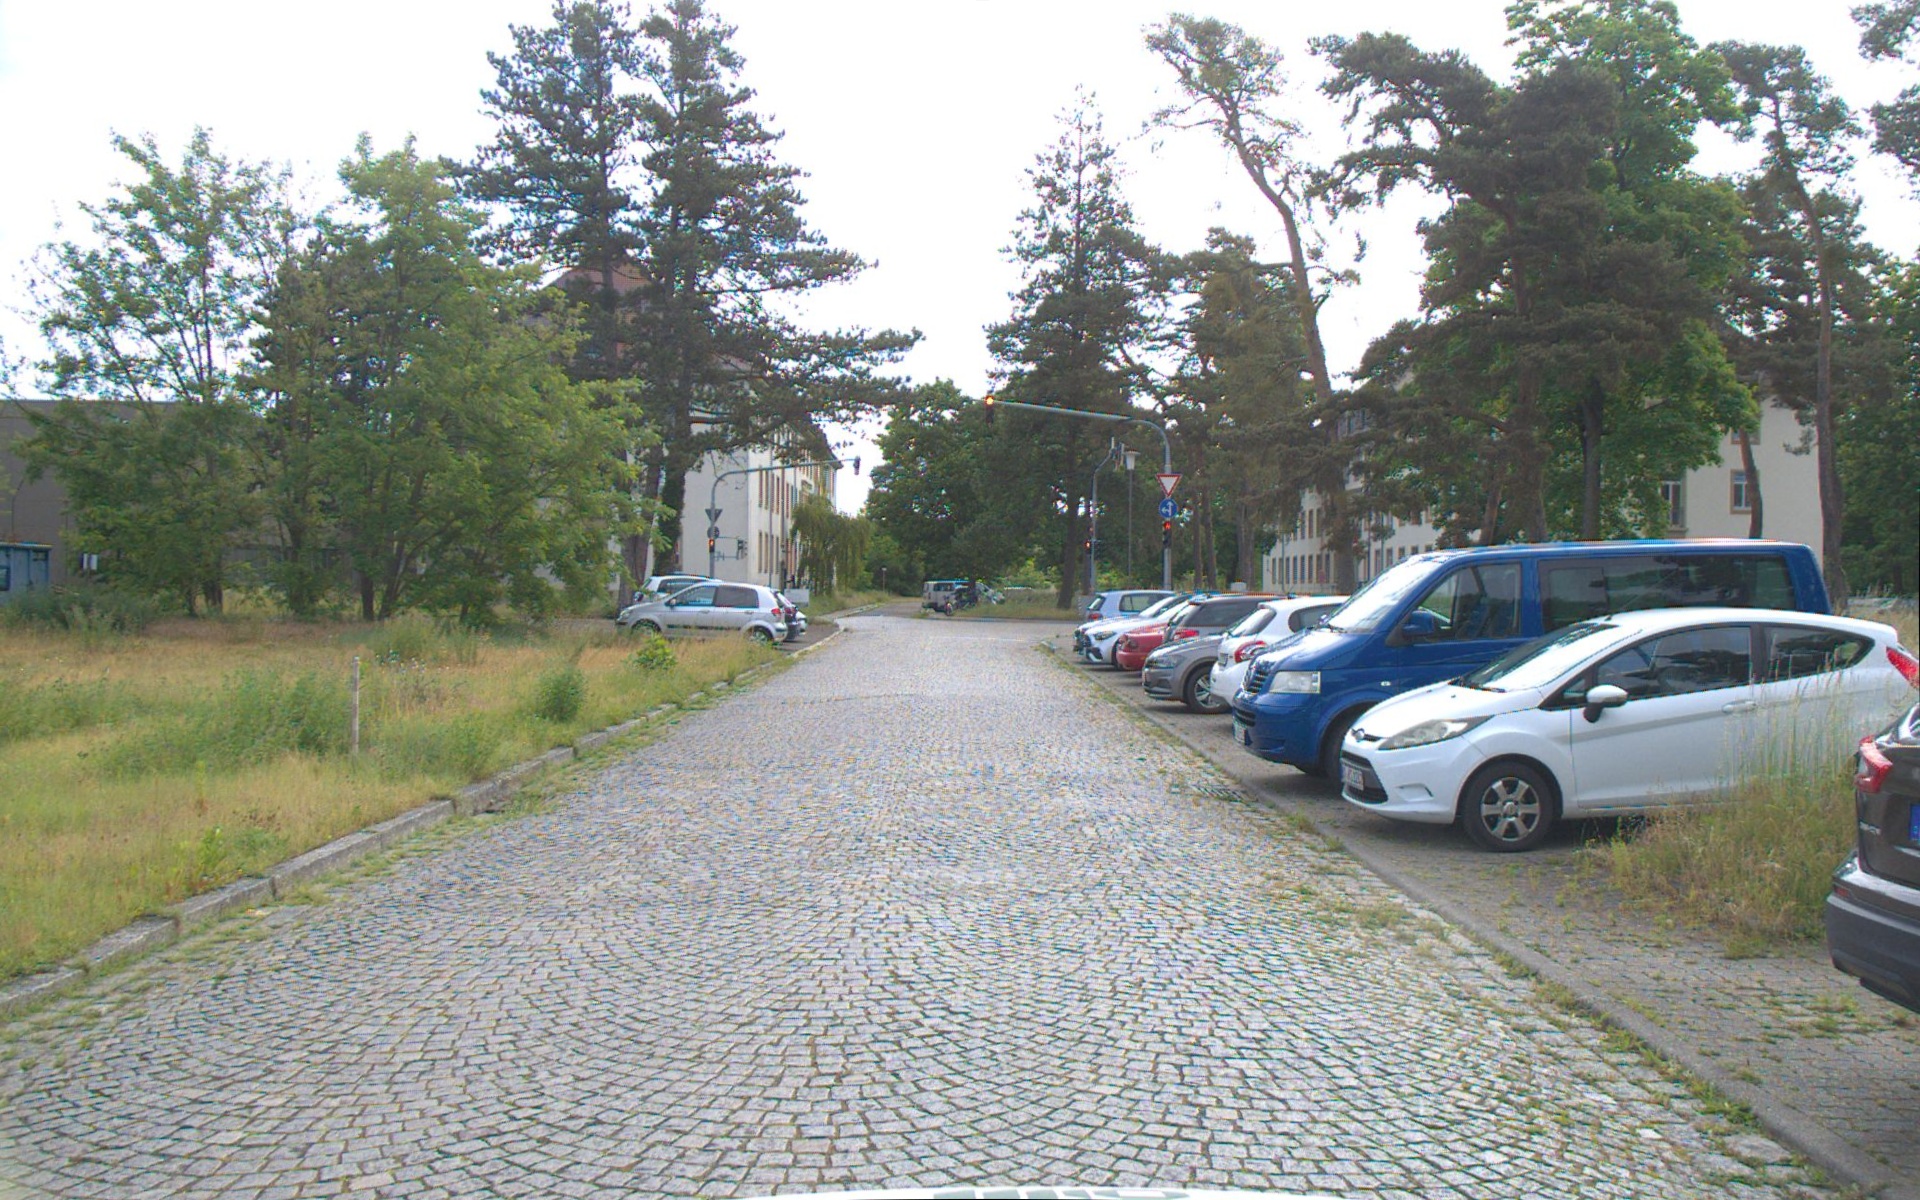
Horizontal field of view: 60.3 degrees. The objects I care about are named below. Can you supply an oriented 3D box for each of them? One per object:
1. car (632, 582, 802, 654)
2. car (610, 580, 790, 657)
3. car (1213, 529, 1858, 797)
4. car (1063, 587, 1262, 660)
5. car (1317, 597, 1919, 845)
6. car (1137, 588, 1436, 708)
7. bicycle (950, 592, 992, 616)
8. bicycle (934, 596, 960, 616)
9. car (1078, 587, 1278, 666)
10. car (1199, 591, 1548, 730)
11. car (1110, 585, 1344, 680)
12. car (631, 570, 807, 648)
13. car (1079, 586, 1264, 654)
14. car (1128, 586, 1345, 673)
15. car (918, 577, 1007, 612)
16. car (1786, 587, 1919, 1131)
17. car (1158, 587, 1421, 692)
[{"bbox_3d":[-5.638,0.416,38.688,3.744,1.600,1.564,-1,0,-1],"label":"car"},{"bbox_3d":[-5.651,0.395,36.271,3.746,1.600,1.563,-1,0,-4],"label":"car"},{"bbox_3d":[4.603,0.470,13.697,4.659,1.989,1.930,-1,0,-3],"label":"car"},{"bbox_3d":[4.227,0.477,34.836,3.890,1.446,1.618,-1,0,-5],"label":"car"},{"bbox_3d":[4.391,0.745,11.102,3.599,1.475,1.614,-1,0,-3],"label":"car"},{"bbox_3d":[4.228,0.603,21.749,3.598,1.475,1.523,-1,0,-3],"label":"car"},{"bbox_3d":[0.569,0.203,86.361,2.095,1.236,0.621,1,0,-5],"label":"bicycle"},{"bbox_3d":[-0.665,0.303,82.274,0.613,0.961,1.648,1,0,-28],"label":"bicycle"},{"bbox_3d":[4.176,0.492,31.980,3.600,1.446,1.522,-1,0,-5],"label":"car"},{"bbox_3d":[4.675,0.662,18.977,3.598,1.475,1.523,-1,0,-3],"label":"car"},{"bbox_3d":[4.379,0.524,27.446,3.598,1.475,1.523,-1,0,-3],"label":"car"},{"bbox_3d":[-6.014,0.226,41.669,4.176,1.873,1.743,-1,0,-1],"label":"car"},{"bbox_3d":[4.756,0.444,37.494,3.890,1.446,1.618,-1,0,-5],"label":"car"},{"bbox_3d":[4.930,0.518,29.738,3.598,1.475,1.523,-1,0,-3],"label":"car"},{"bbox_3d":[0.141,-0.356,104.263,5.346,2.049,2.263,1,0,-10],"label":"car"},{"bbox_3d":[4.762,0.728,4.730,3.948,1.579,1.750,-1,0,-3],"label":"car"},{"bbox_3d":[4.880,0.571,24.747,3.598,1.475,1.523,-1,0,-3],"label":"car"}]
